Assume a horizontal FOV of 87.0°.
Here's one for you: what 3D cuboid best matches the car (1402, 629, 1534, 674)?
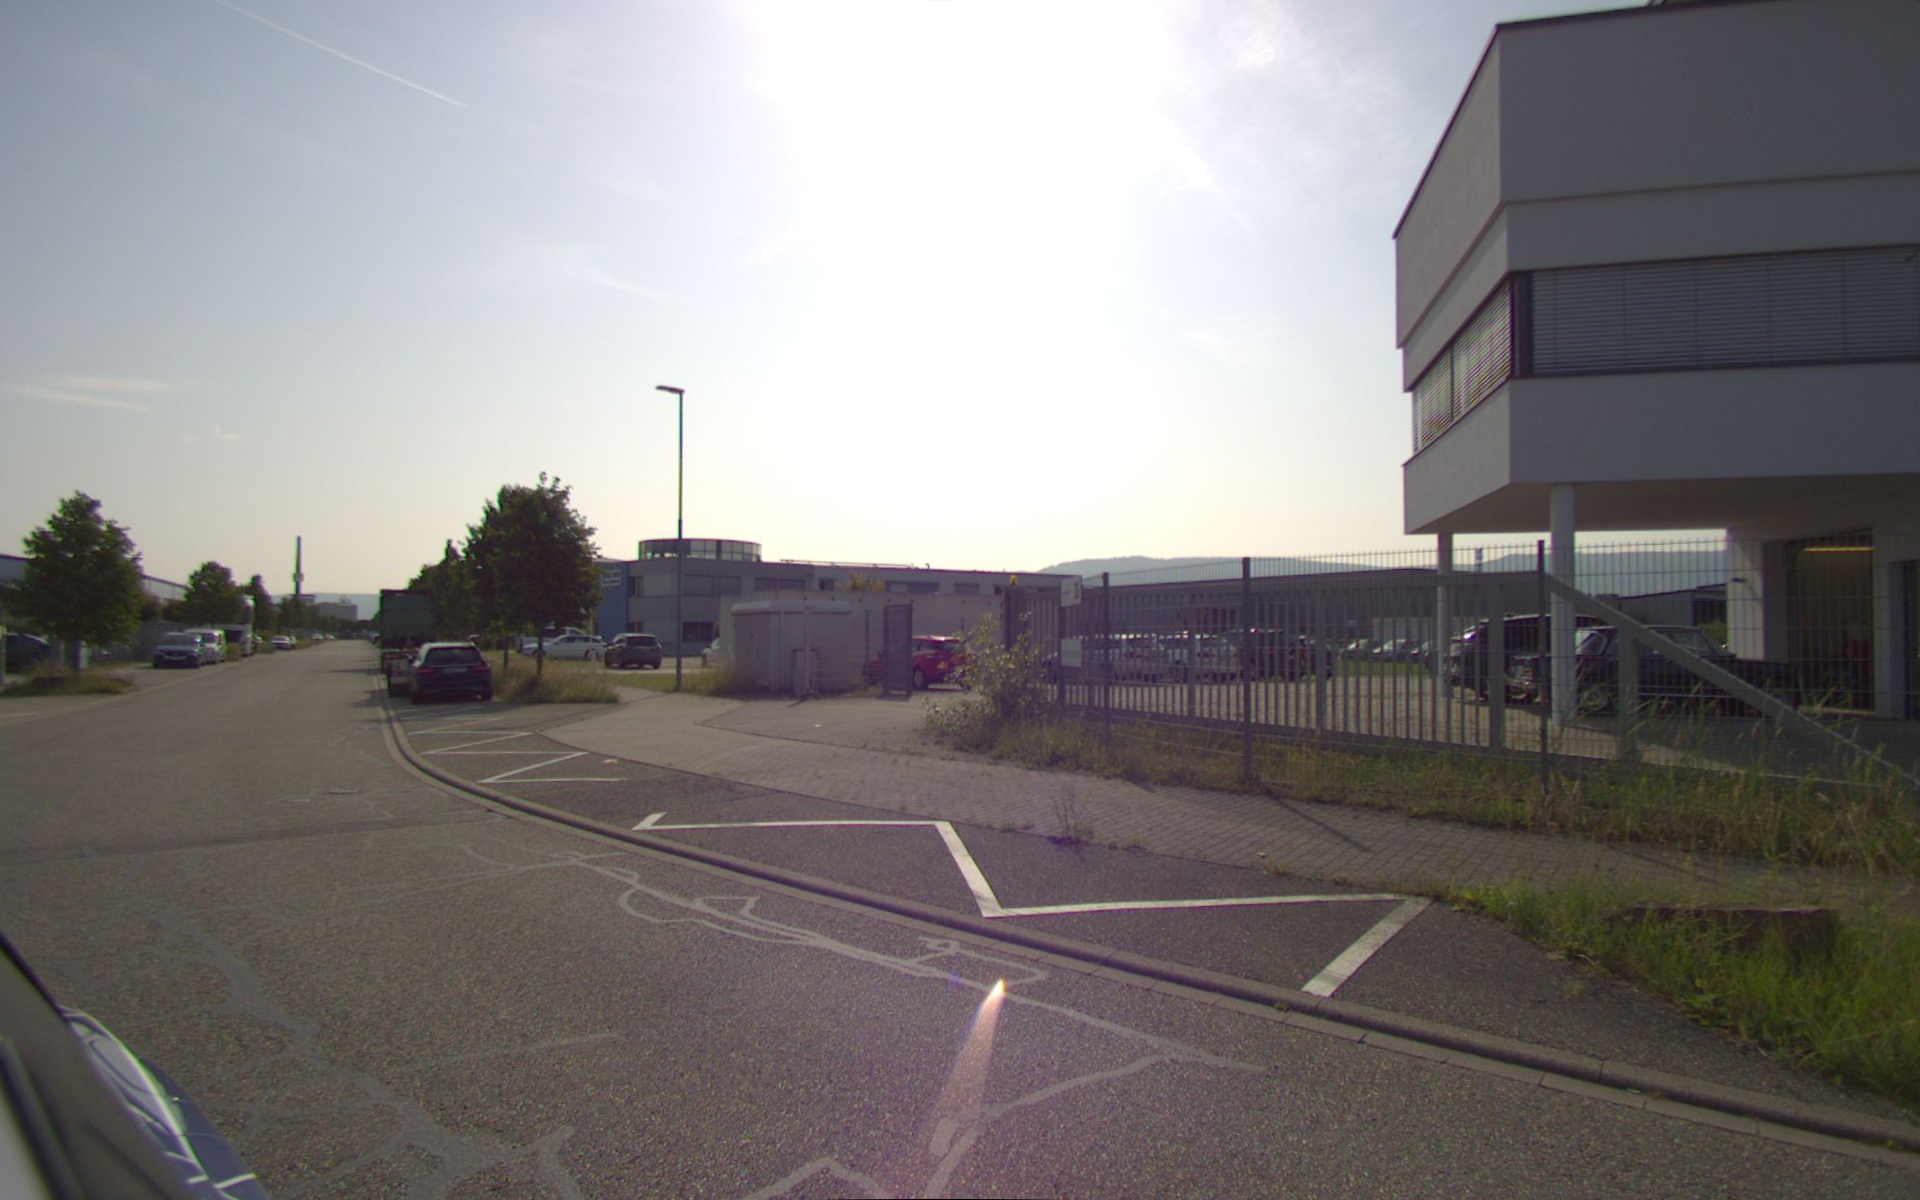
[{"bbox_3d":[20.891,2.108,41.790,1.956,1.741,4.466,2,-3,-34],"label":"car"}]

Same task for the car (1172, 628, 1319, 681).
[{"bbox_3d":[9.213,1.783,33.087,1.908,1.616,4.490,1,-4,-31],"label":"car"}]

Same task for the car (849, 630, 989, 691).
[{"bbox_3d":[-1.216,1.664,27.871,1.747,1.537,4.314,2,-4,-36],"label":"car"}]

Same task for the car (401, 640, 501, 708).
[{"bbox_3d":[-12.922,1.795,25.556,1.966,1.478,4.445,-1,-2,-30],"label":"car"}]

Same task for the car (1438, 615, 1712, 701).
[{"bbox_3d":[11.323,1.065,18.958,3.962,1.499,1.860,-1,-2,15],"label":"car"}]

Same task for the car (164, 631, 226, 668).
[{"bbox_3d":[-39.818,2.525,52.767,1.966,1.803,4.614,1,-2,-29],"label":"car"}]

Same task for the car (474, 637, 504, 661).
[{"bbox_3d":[-41.630,4.326,89.439,1.855,2.029,5.005,2,-4,-31],"label":"car"}]

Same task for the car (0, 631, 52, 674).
[{"bbox_3d":[-40.202,2.157,41.569,4.170,1.751,1.903,1,-3,-38],"label":"car"}]

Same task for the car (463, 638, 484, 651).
[{"bbox_3d":[-52.546,4.821,109.318,1.730,1.420,3.930,1,-3,-29],"label":"car"}]

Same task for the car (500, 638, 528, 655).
[{"bbox_3d":[-43.929,4.583,99.621,1.915,1.619,4.522,1,-3,-31],"label":"car"}]

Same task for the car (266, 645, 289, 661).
[{"bbox_3d":[-69.646,5.379,103.310,1.641,1.515,3.551,4,-4,-31],"label":"car"}]

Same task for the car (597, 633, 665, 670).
[{"bbox_3d":[-15.820,2.450,48.526,1.966,1.699,4.712,2,-3,-32],"label":"car"}]

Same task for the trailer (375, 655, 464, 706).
[{"bbox_3d":[-16.312,2.328,30.565,2.100,1.242,7.179,-1,-2,-28],"label":"trailer"}]

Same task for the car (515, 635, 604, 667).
[{"bbox_3d":[-23.850,3.001,60.241,4.639,1.850,2.109,1,-2,-30],"label":"car"}]

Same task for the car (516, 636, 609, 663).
[{"bbox_3d":[-22.666,2.805,57.712,4.661,1.442,2.006,1,-3,-32],"label":"car"}]

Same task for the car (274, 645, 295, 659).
[{"bbox_3d":[-73.617,5.669,110.296,1.666,1.515,3.551,4,-4,-31],"label":"car"}]

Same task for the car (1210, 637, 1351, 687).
[{"bbox_3d":[11.067,2.154,35.224,1.908,1.616,4.490,1,-4,-31],"label":"car"}]

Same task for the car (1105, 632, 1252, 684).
[{"bbox_3d":[6.757,1.828,31.792,1.908,1.506,4.490,1,-4,-31],"label":"car"}]

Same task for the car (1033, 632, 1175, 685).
[{"bbox_3d":[4.268,1.776,30.732,1.807,1.506,4.490,1,-4,-31],"label":"car"}]

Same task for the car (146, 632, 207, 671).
[{"bbox_3d":[-37.415,2.429,48.413,1.800,1.733,4.261,1,-2,-32],"label":"car"}]

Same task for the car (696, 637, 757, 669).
[{"bbox_3d":[-11.824,2.672,51.137,1.682,1.527,4.225,2,-3,-32],"label":"car"}]

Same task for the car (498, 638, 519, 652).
[{"bbox_3d":[-49.600,4.958,111.172,1.730,1.479,3.930,1,-3,-29],"label":"car"}]

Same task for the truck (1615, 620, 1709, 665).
[{"bbox_3d":[41.121,2.518,59.346,1.965,2.533,4.013,1,-3,-25],"label":"truck"}]

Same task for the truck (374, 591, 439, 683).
[{"bbox_3d":[-26.292,1.674,47.950,2.421,3.911,9.832,-1,-1,-29],"label":"truck"}]

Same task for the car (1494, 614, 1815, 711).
[{"bbox_3d":[10.933,0.981,16.234,3.884,1.426,1.555,-1,-2,15],"label":"car"}]

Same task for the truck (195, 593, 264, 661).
[{"bbox_3d":[-48.099,1.888,66.865,2.708,4.046,9.714,4,-4,-31],"label":"truck"}]
